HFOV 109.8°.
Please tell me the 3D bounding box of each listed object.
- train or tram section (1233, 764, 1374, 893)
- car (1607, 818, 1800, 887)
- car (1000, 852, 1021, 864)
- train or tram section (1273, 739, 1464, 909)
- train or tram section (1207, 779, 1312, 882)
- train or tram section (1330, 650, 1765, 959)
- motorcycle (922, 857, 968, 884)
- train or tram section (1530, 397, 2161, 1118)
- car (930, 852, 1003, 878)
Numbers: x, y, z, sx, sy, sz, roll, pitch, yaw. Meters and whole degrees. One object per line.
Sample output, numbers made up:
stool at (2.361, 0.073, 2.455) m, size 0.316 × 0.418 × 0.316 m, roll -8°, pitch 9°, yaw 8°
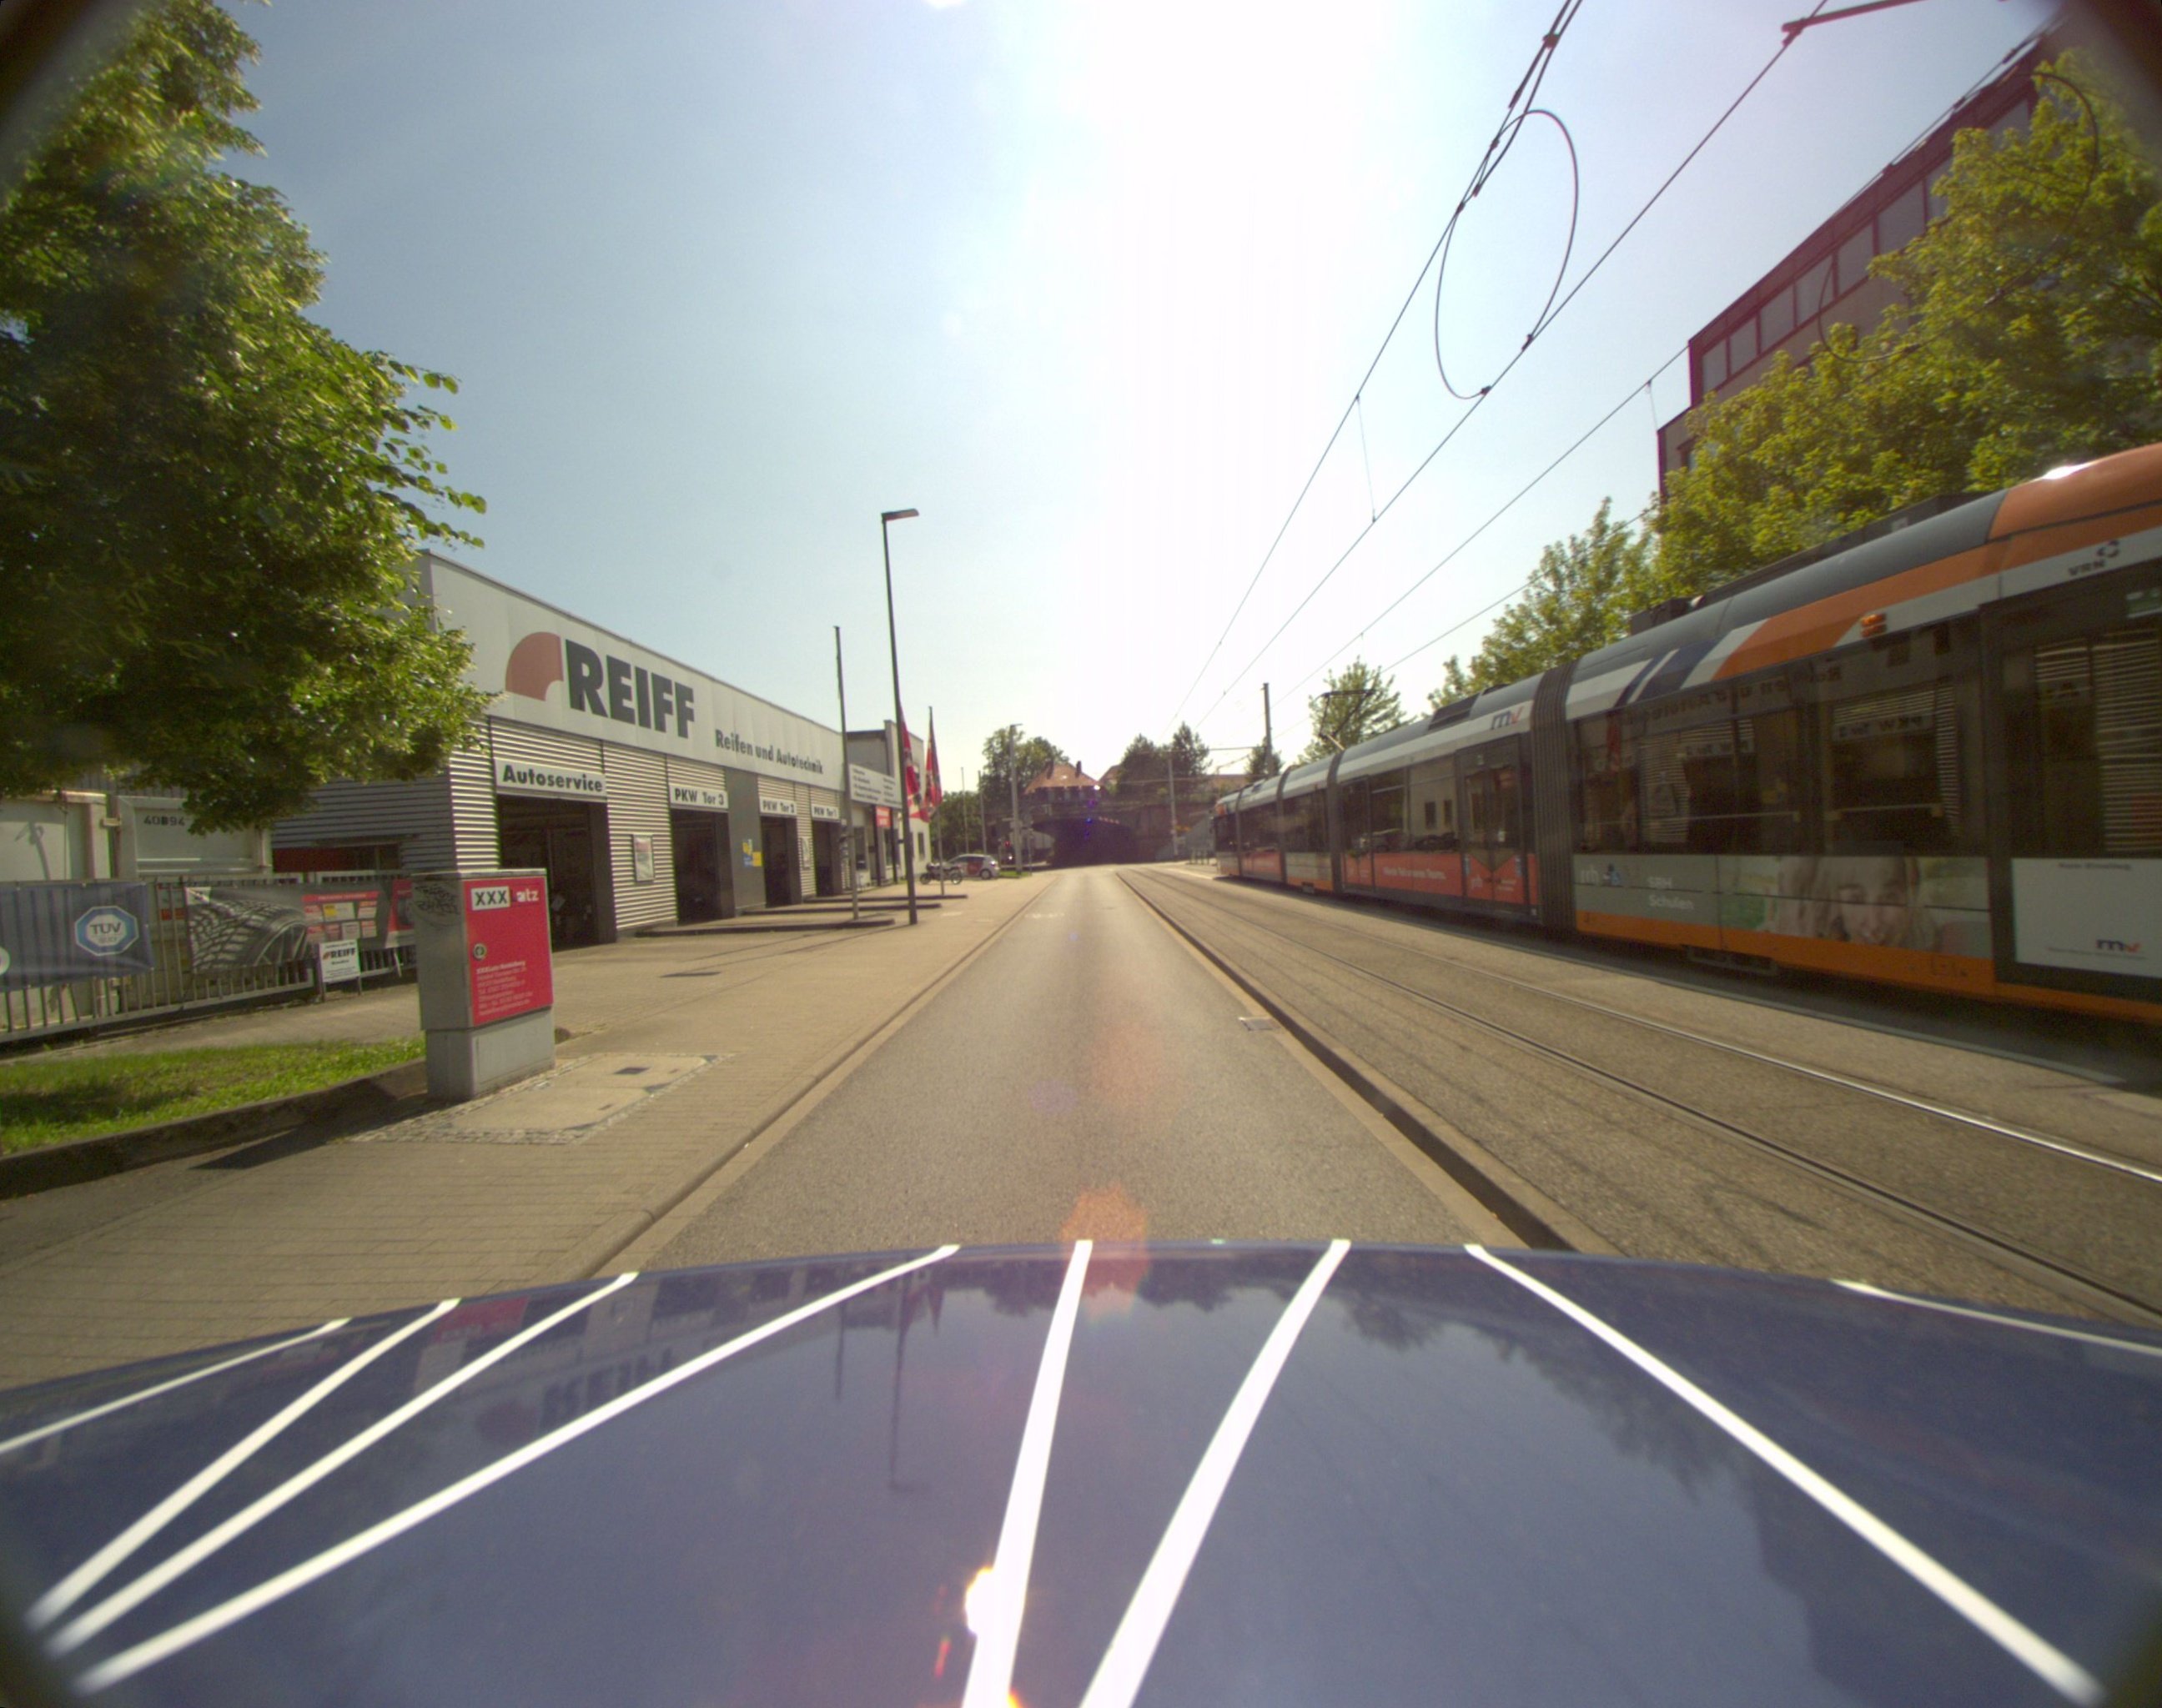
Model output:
train or tram section at (6.702, -0.715, 23.830) m, size 2.617 × 3.427 × 5.843 m, roll -3°, pitch 1°, yaw 0°
car at (15.633, -0.052, 19.386) m, size 1.727 × 1.455 × 3.904 m, roll -5°, pitch 0°, yaw 2°
car at (-10.143, 0.609, 108.756) m, size 1.824 × 1.594 × 4.300 m, roll -5°, pitch 1°, yaw -21°
train or tram section at (6.646, -0.643, 18.389) m, size 2.617 × 3.427 × 5.010 m, roll -3°, pitch 1°, yaw 0°
train or tram section at (6.759, -0.848, 29.630) m, size 2.617 × 3.512 × 5.742 m, roll -3°, pitch 1°, yaw 0°
train or tram section at (6.545, -0.592, 12.301) m, size 2.586 × 3.427 × 7.136 m, roll -3°, pitch 1°, yaw 0°
motorcycle at (-6.922, 0.834, 38.786) m, size 2.189 × 1.301 × 0.731 m, roll 0°, pitch 2°, yaw -1°
train or tram section at (6.455, -0.511, 5.487) m, size 2.586 × 3.427 × 6.362 m, roll -3°, pitch 1°, yaw 0°
car at (-6.627, 0.610, 44.337) m, size 3.997 × 1.454 × 1.889 m, roll 0°, pitch 1°, yaw -1°
